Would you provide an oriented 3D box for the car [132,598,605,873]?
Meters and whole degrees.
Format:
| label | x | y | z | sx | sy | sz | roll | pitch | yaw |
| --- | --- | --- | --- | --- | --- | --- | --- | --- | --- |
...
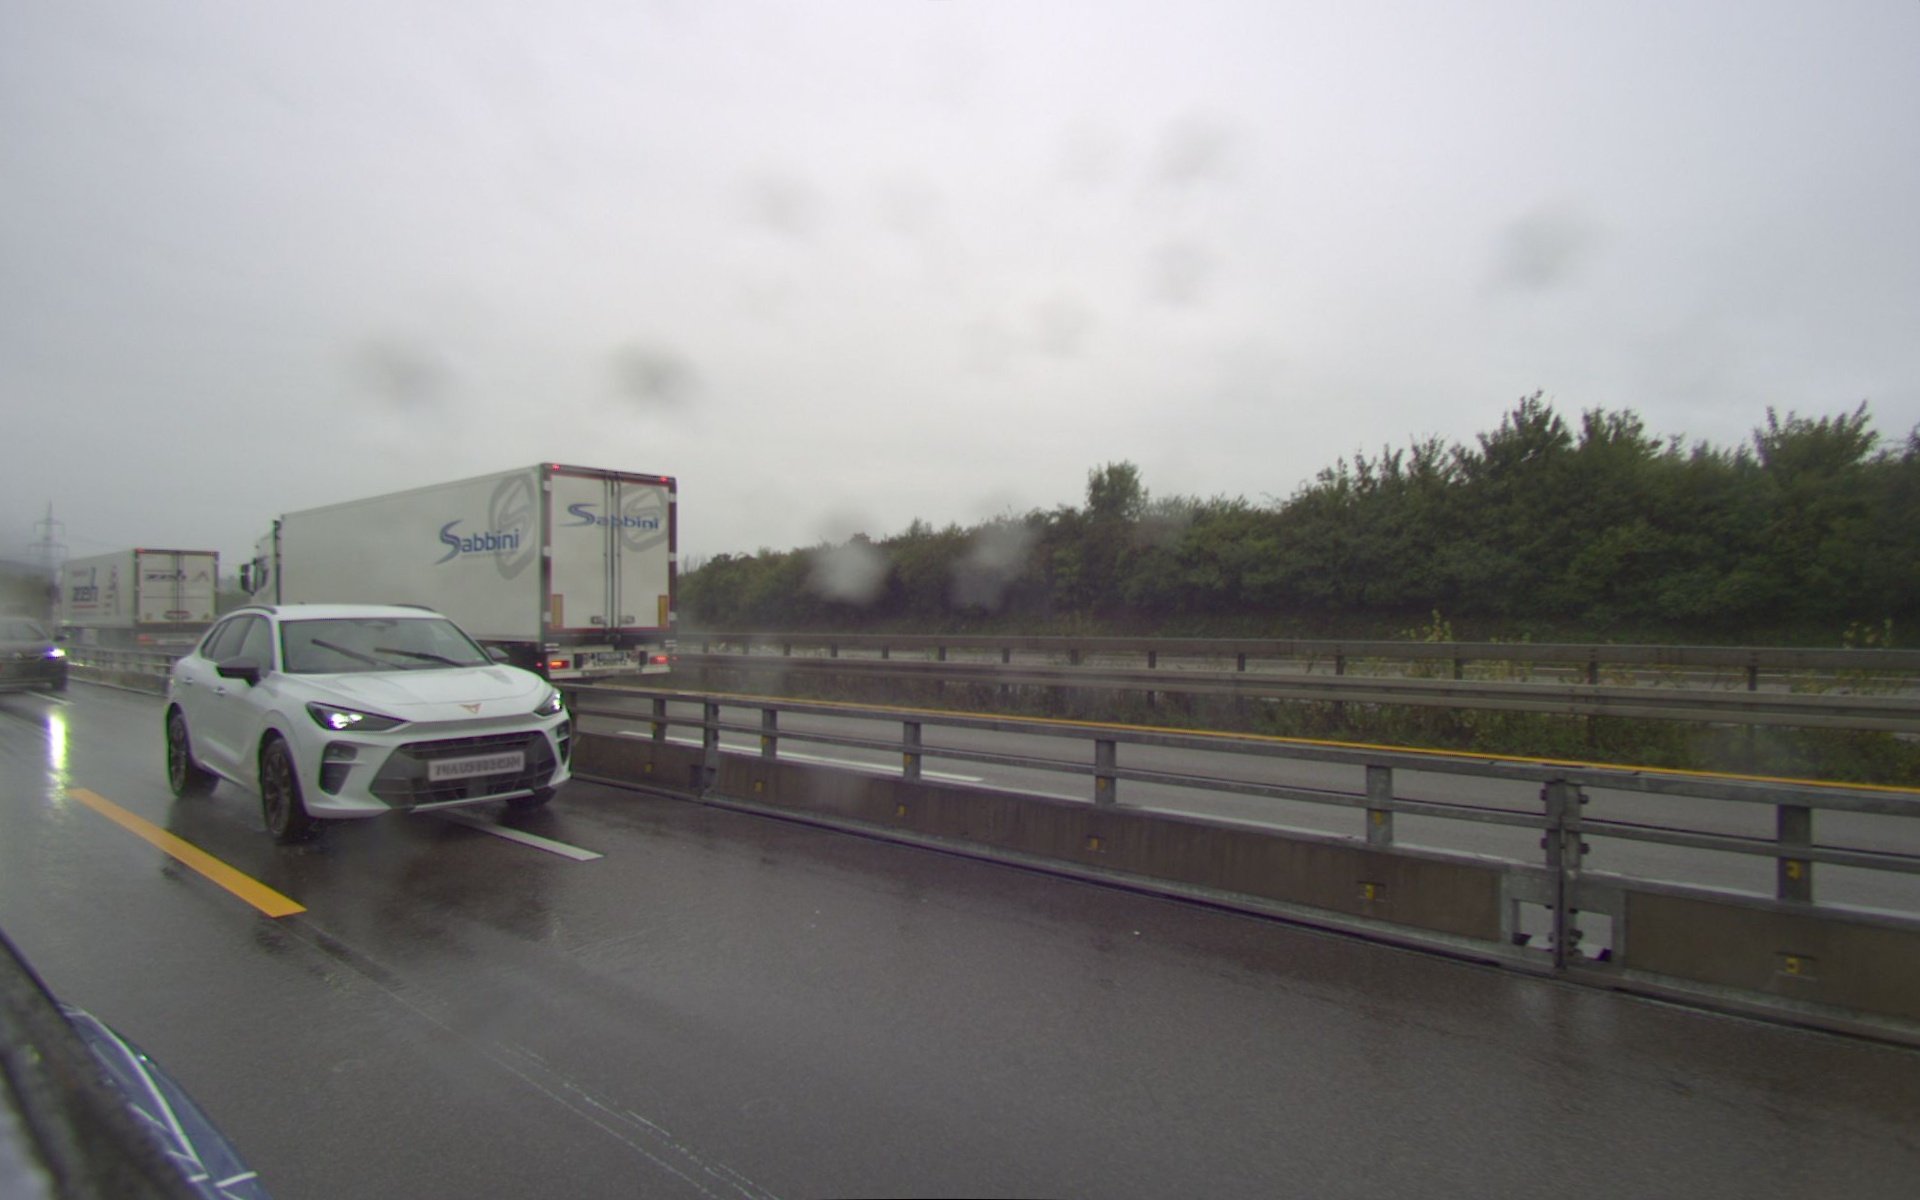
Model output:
| label | x | y | z | sx | sy | sz | roll | pitch | yaw |
| --- | --- | --- | --- | --- | --- | --- | --- | --- | --- |
| car | -5.005 | 0.819 | 8.175 | 5.006 | 1.562 | 1.907 | -1 | -1 | 43 |

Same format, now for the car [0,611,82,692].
| label | x | y | z | sx | sy | sz | roll | pitch | yaw |
| --- | --- | --- | --- | --- | --- | --- | --- | --- | --- |
| car | -21.347 | 1.090 | 22.626 | 5.195 | 1.640 | 2.041 | -1 | -1 | 43 |

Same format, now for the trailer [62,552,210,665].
| label | x | y | z | sx | sy | sz | roll | pitch | yaw |
| --- | --- | --- | --- | --- | --- | --- | --- | --- | --- |
| trailer | -34.158 | 0.399 | 41.684 | 12.577 | 4.080 | 2.469 | -1 | -1 | 40 |

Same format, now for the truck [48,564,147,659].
| label | x | y | z | sx | sy | sz | roll | pitch | yaw |
| --- | --- | --- | --- | --- | --- | --- | --- | --- | --- |
| truck | -39.383 | 0.546 | 46.152 | 6.444 | 4.062 | 2.458 | -1 | -1 | 41 |

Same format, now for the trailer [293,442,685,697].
| label | x | y | z | sx | sy | sz | roll | pitch | yaw |
| --- | --- | --- | --- | --- | --- | --- | --- | --- | --- |
| trailer | -10.531 | -0.308 | 21.441 | 12.214 | 4.121 | 2.877 | -2 | -2 | 41 |

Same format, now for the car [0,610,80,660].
| label | x | y | z | sx | sy | sz | roll | pitch | yaw |
| --- | --- | --- | --- | --- | --- | --- | --- | --- | --- |
| car | -37.119 | 1.370 | 40.724 | 4.431 | 1.899 | 1.973 | -1 | -2 | 41 |

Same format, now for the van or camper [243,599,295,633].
| label | x | y | z | sx | sy | sz | roll | pitch | yaw |
| --- | --- | --- | --- | --- | --- | --- | --- | --- | --- |
| van or camper | -91.858 | 2.164 | 134.457 | 8.494 | 4.356 | 3.335 | -1 | 0 | 38 |

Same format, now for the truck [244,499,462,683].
| label | x | y | z | sx | sy | sz | roll | pitch | yaw |
| --- | --- | --- | --- | --- | --- | --- | --- | --- | --- |
| truck | -15.762 | -0.103 | 26.076 | 6.923 | 4.133 | 2.853 | -2 | -2 | 41 |

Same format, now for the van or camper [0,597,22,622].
| label | x | y | z | sx | sy | sz | roll | pitch | yaw |
| --- | --- | --- | --- | --- | --- | --- | --- | --- | --- |
| van or camper | -133.705 | 1.359 | 139.923 | 3.371 | 3.370 | 5.359 | -1 | 0 | 35 |
